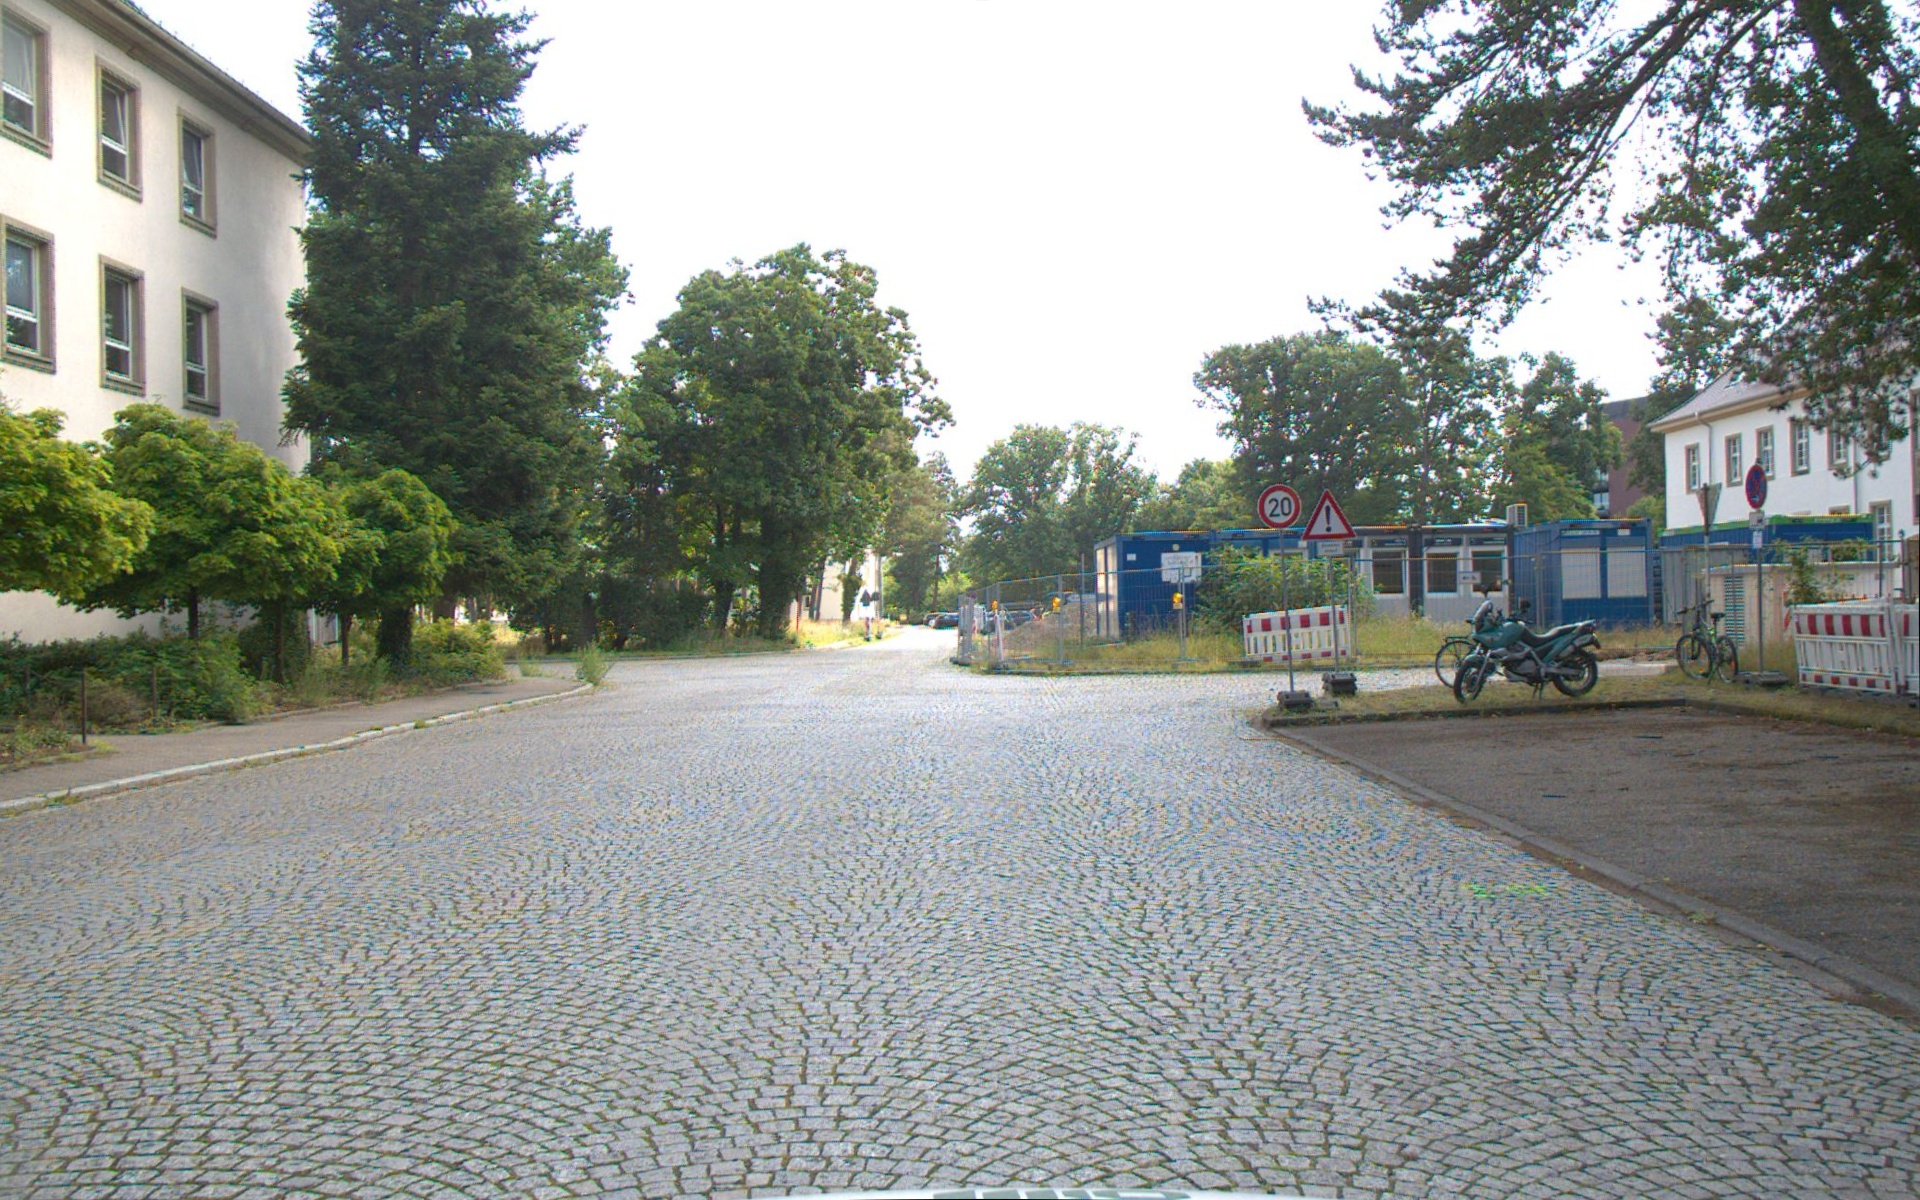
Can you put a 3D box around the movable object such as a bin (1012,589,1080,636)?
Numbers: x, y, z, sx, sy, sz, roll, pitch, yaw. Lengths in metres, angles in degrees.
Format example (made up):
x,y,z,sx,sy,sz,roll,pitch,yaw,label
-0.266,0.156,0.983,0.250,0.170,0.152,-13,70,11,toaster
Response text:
x,y,z,sx,sy,sz,roll,pitch,yaw,label
5.048,0.747,96.542,2.088,2.638,4.783,-1,-1,29,movable object such as a bin

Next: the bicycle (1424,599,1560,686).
x,y,z,sx,sy,sz,roll,pitch,yaw,label
7.868,0.629,24.492,1.859,1.218,0.656,-2,-1,20,bicycle

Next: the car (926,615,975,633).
x,y,z,sx,sy,sz,roll,pitch,yaw,label
-0.911,2.337,162.763,4.687,1.669,1.998,-1,-1,-6,car

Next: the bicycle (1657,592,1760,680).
x,y,z,sx,sy,sz,roll,pitch,yaw,label
10.645,0.493,23.586,0.629,1.189,1.905,-2,0,2,bicycle

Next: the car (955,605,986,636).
x,y,z,sx,sy,sz,roll,pitch,yaw,label
0.716,1.414,113.230,1.953,2.049,4.090,-1,-1,-1,car

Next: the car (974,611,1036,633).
x,y,z,sx,sy,sz,roll,pitch,yaw,label
3.302,1.596,120.152,4.308,1.537,2.001,0,-1,8,car

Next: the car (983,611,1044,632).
x,y,z,sx,sy,sz,roll,pitch,yaw,label
3.984,1.629,122.820,4.308,1.537,2.001,0,-1,8,car

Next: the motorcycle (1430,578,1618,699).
x,y,z,sx,sy,sz,roll,pitch,yaw,label
7.519,0.504,22.092,2.232,1.511,0.756,-2,-1,-5,motorcycle
